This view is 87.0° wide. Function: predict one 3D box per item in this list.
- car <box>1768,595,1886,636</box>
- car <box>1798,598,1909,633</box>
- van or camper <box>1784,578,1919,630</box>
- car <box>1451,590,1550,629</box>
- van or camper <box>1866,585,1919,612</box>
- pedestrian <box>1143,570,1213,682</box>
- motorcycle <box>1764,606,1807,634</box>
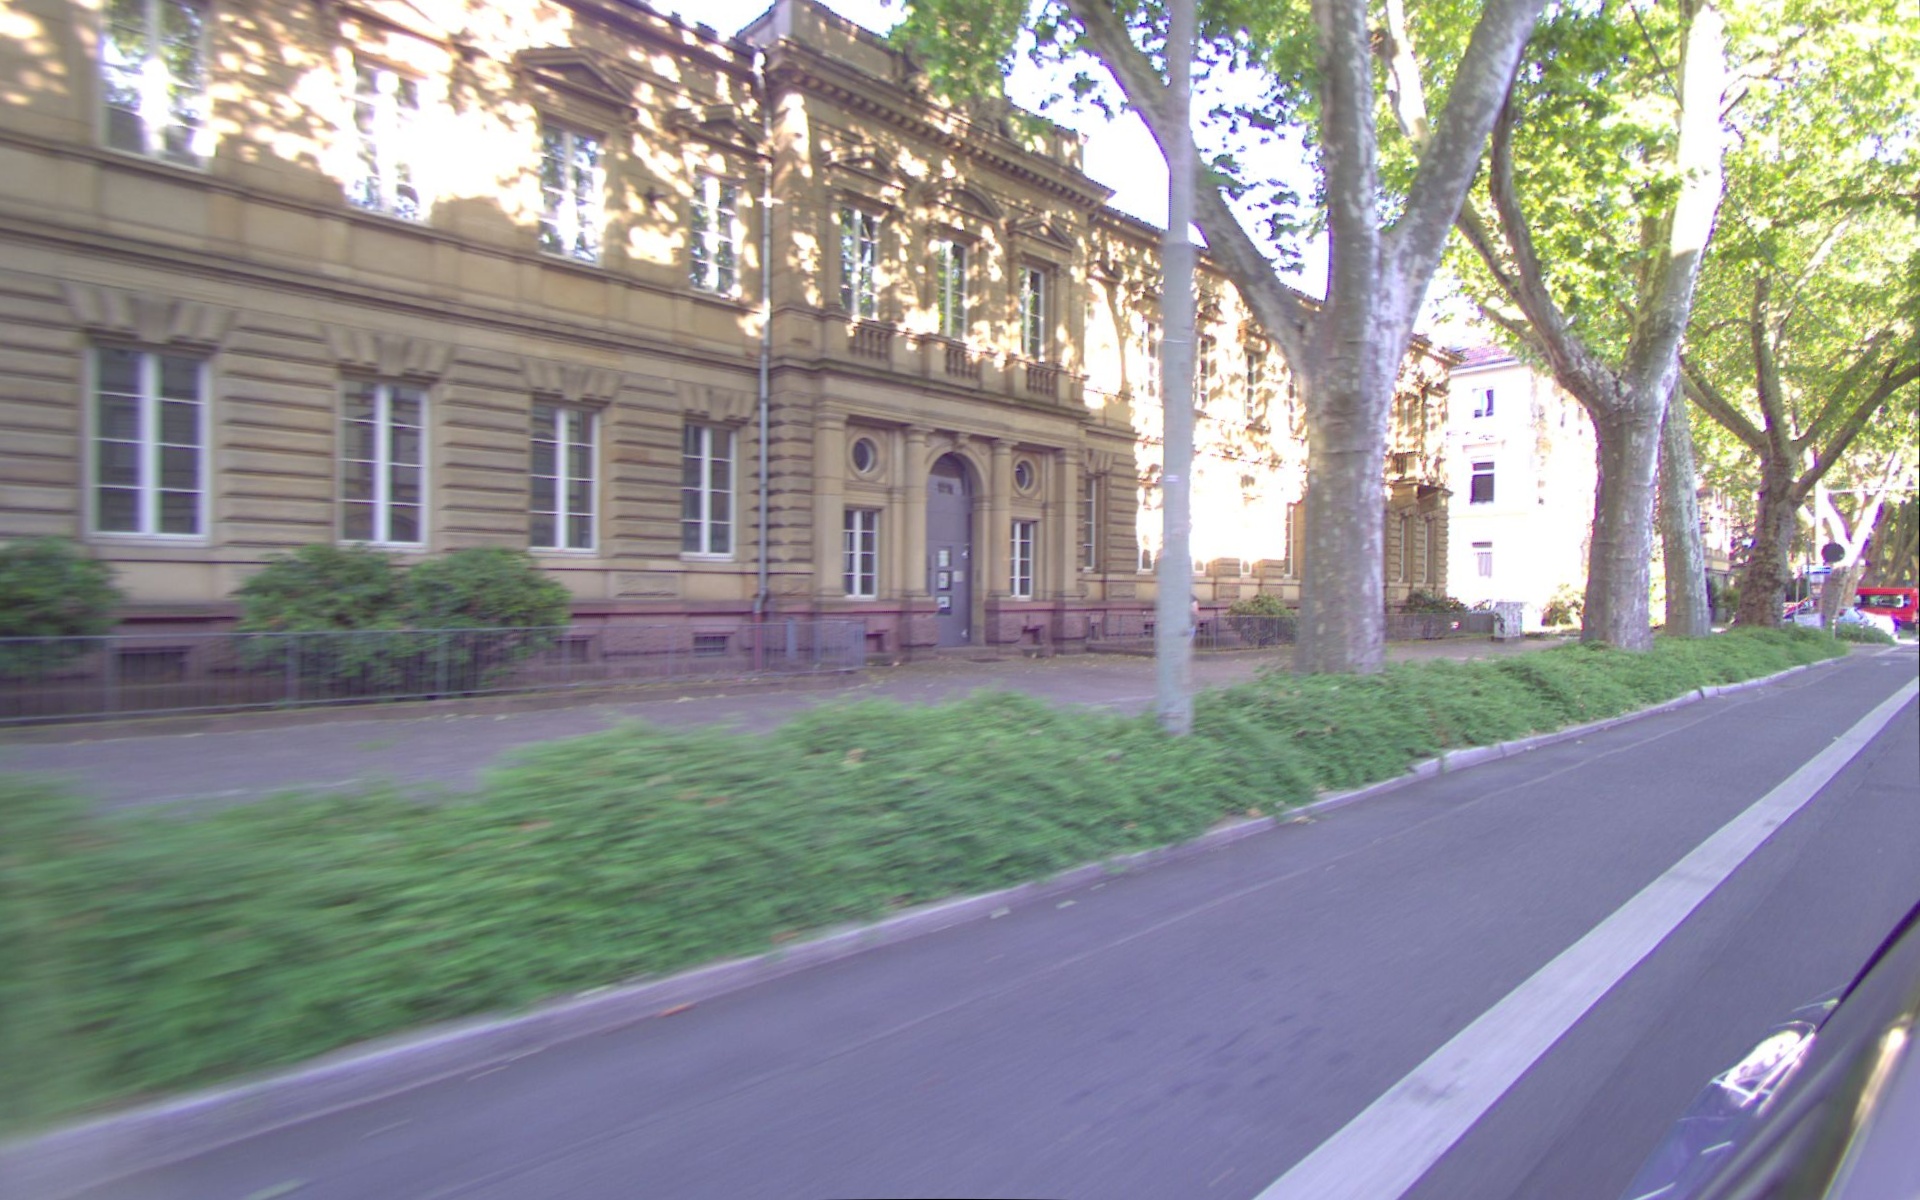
[{"bbox_3d":[36.792,0.630,43.008,1.589,1.562,3.671,-3,3,-43],"label":"car"},{"bbox_3d":[40.739,0.681,46.190,1.589,1.435,3.671,-3,3,-43],"label":"car"},{"bbox_3d":[46.727,0.138,52.557,5.914,2.528,2.186,1,3,45],"label":"van or camper"},{"bbox_3d":[23.996,0.401,45.006,1.708,1.561,3.566,-3,3,-43],"label":"car"},{"bbox_3d":[88.811,-0.097,94.477,2.387,2.461,6.090,0,1,-43],"label":"van or camper"},{"bbox_3d":[3.544,0.405,16.438,0.990,1.758,0.651,0,0,-43],"label":"pedestrian"},{"bbox_3d":[32.041,0.778,39.295,1.251,1.067,0.394,1,0,10],"label":"motorcycle"}]
